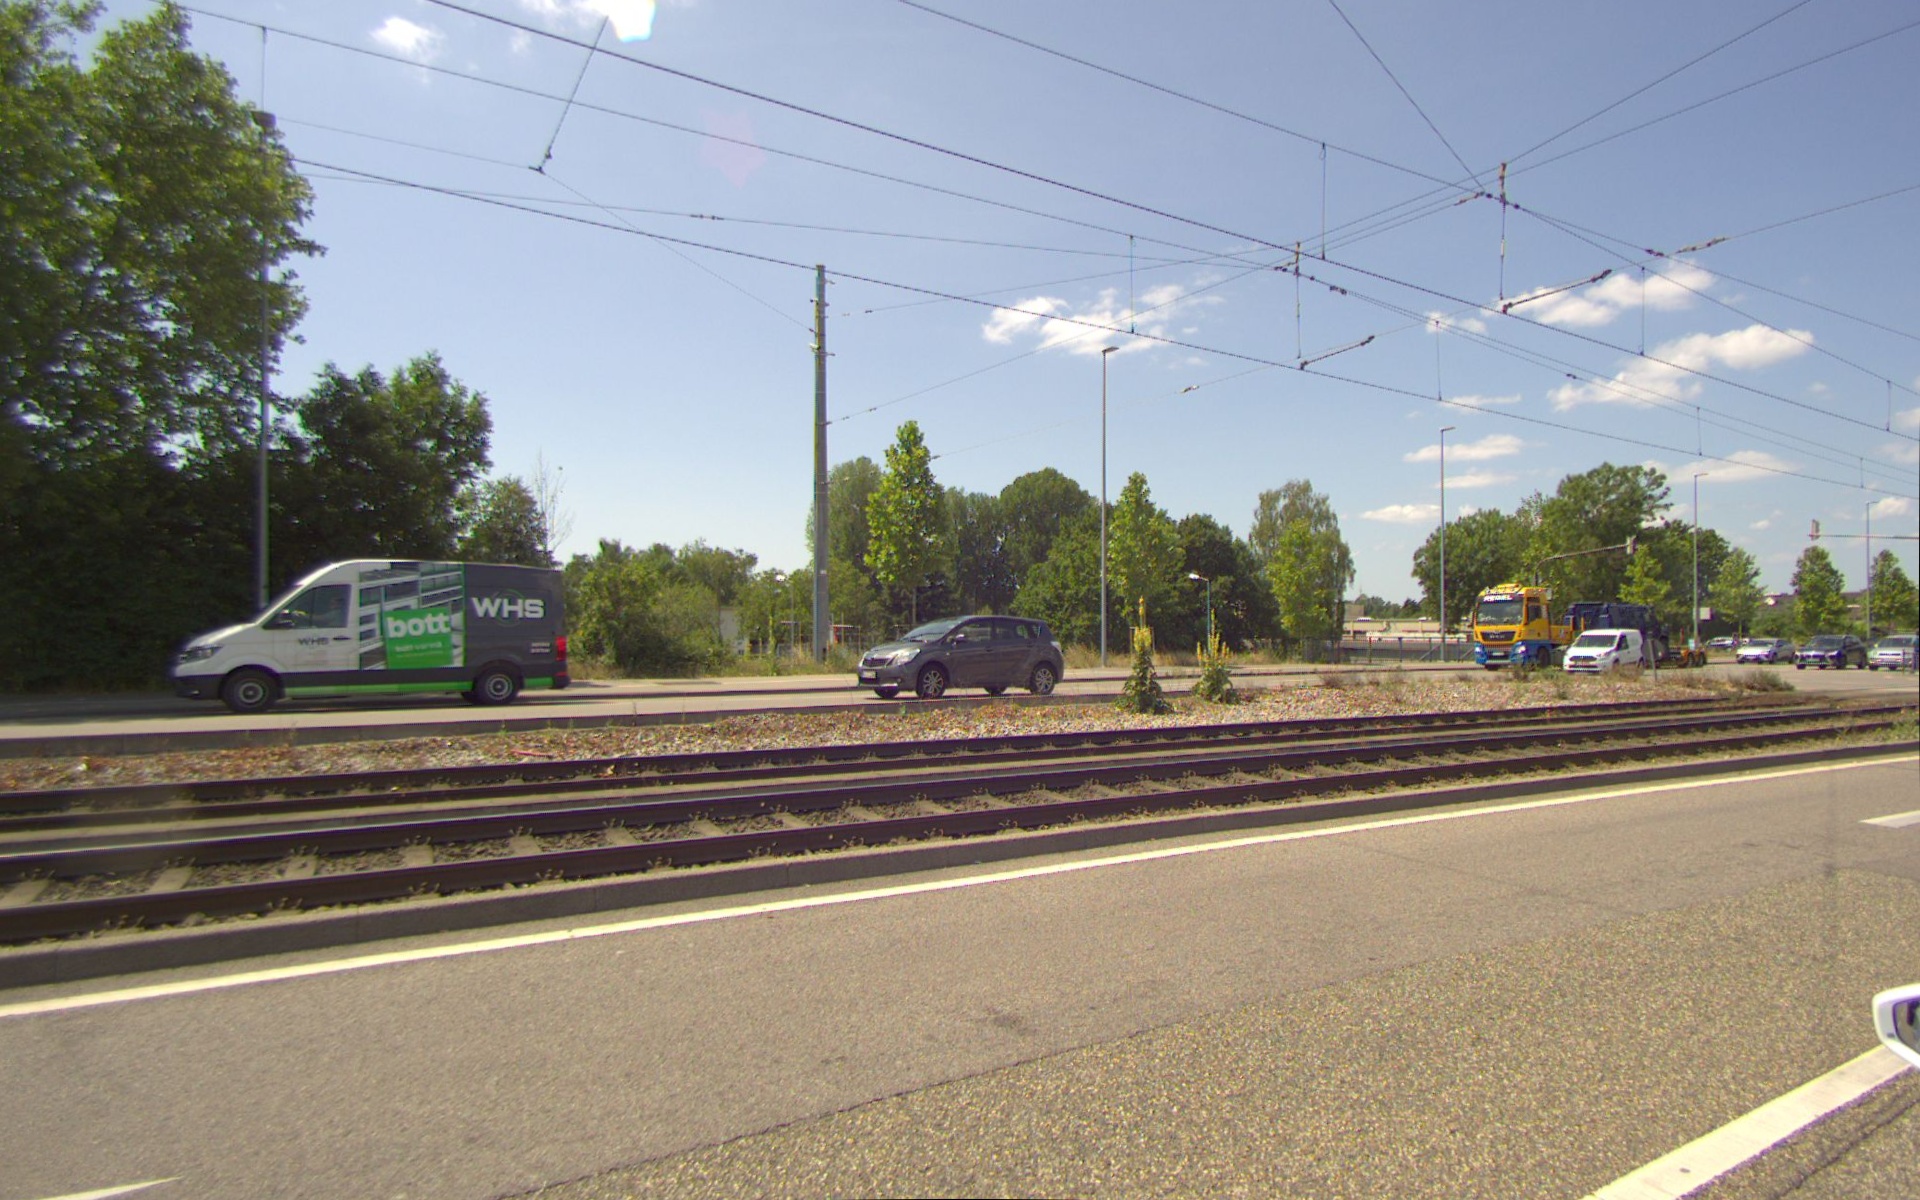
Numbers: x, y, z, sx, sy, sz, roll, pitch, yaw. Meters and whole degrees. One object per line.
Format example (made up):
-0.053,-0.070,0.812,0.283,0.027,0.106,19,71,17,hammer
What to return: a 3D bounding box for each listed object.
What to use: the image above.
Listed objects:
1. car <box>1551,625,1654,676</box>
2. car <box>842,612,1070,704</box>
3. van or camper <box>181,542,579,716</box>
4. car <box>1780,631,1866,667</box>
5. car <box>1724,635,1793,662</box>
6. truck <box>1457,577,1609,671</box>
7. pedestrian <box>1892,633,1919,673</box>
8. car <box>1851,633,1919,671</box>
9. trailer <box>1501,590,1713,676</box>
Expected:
25.815,1.998,40.339,4.390,1.863,1.980,2,0,-36,car
-0.034,1.100,20.069,4.223,1.658,1.981,1,-2,-35,car
-9.964,0.542,17.678,5.790,2.620,1.979,2,-3,-37,van or camper
42.146,2.366,49.041,3.953,1.650,1.984,1,-1,-30,car
47.498,2.851,59.742,4.233,1.483,1.982,1,0,-33,car
26.902,1.116,47.095,7.394,4.093,3.108,1,0,-33,truck
39.338,2.173,41.580,0.756,1.631,0.951,1,-1,-33,pedestrian
43.708,2.417,46.896,3.953,1.650,1.984,1,0,-30,car
33.278,1.653,51.190,15.316,3.922,3.097,1,0,-33,trailer
